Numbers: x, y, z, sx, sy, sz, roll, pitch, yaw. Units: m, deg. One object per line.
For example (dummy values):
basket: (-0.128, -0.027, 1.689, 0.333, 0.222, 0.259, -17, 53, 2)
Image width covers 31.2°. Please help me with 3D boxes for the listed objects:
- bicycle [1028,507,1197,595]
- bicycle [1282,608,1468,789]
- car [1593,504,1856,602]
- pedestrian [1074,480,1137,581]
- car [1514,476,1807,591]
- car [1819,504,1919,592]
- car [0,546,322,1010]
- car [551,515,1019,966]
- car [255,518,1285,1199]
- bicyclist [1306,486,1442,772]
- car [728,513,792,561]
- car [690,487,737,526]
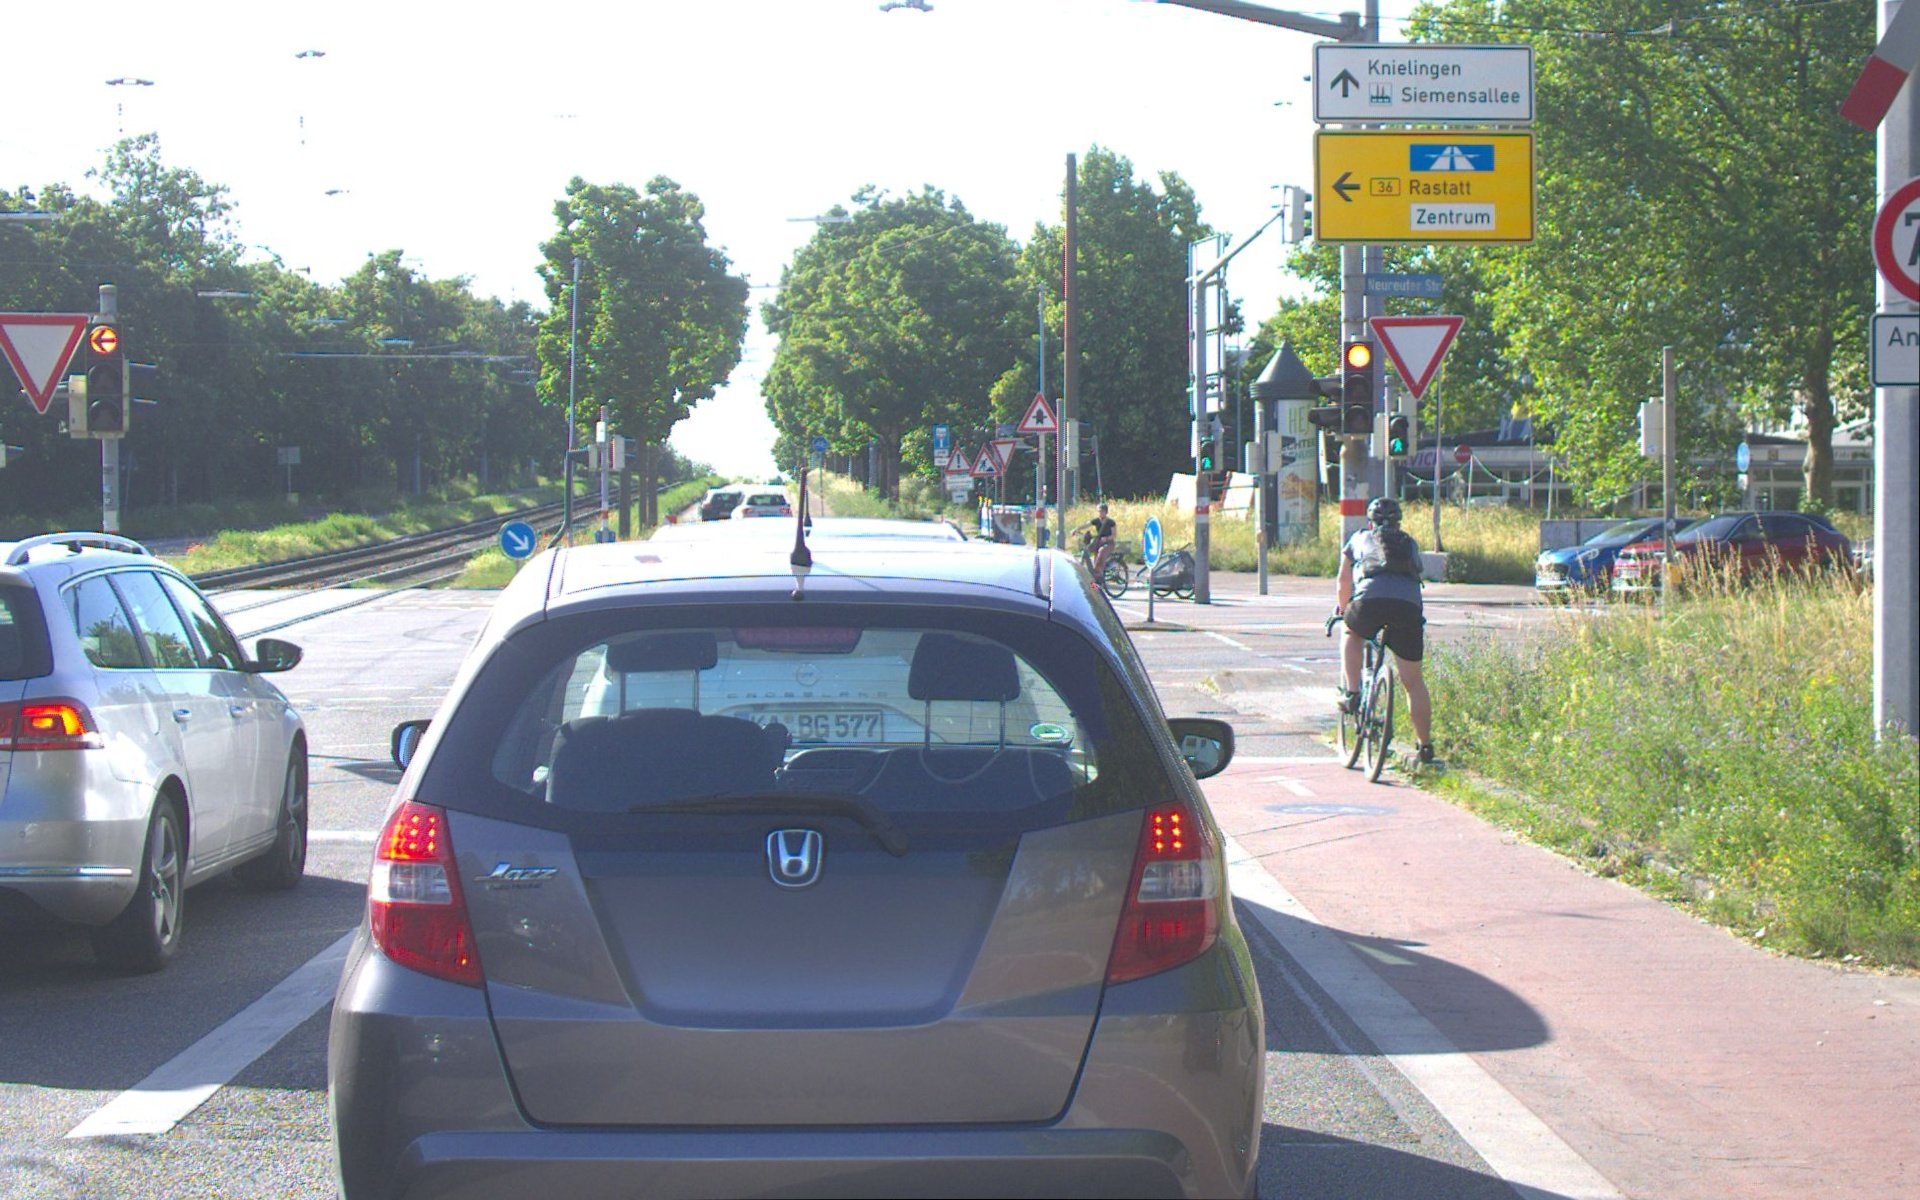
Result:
bicycle: (2.795, -0.906, 62.761, 3.204, 1.569, 0.821, -1, 1, -33)
bicycle: (2.529, 0.573, 21.268, 0.722, 0.985, 2.876, 1, 1, -1)
car: (12.452, -0.780, 55.987, 3.986, 1.525, 1.606, -1, 1, -23)
pedestrian: (2.655, -1.272, 62.720, 0.852, 1.830, 0.791, -1, 1, -34)
car: (12.280, -1.149, 60.270, 4.686, 1.873, 2.001, 1, 1, -23)
car: (17.760, -0.969, 63.065, 3.742, 1.564, 1.491, -1, 1, -23)
car: (-3.532, 0.526, 12.798, 1.619, 1.452, 4.085, 1, 1, -1)
car: (-0.648, 0.447, 14.015, 1.611, 1.557, 4.288, 0, 1, -1)
car: (-0.394, 0.561, 7.380, 1.668, 1.457, 3.587, 0, 1, -3)
bicyclist: (2.540, 0.169, 21.183, 0.666, 1.710, 0.948, 1, 0, -1)
car: (-6.315, -1.979, 108.008, 1.709, 1.473, 4.001, -1, 1, -7)
car: (-9.036, -3.415, 125.860, 1.522, 1.374, 3.677, -1, 1, -7)
